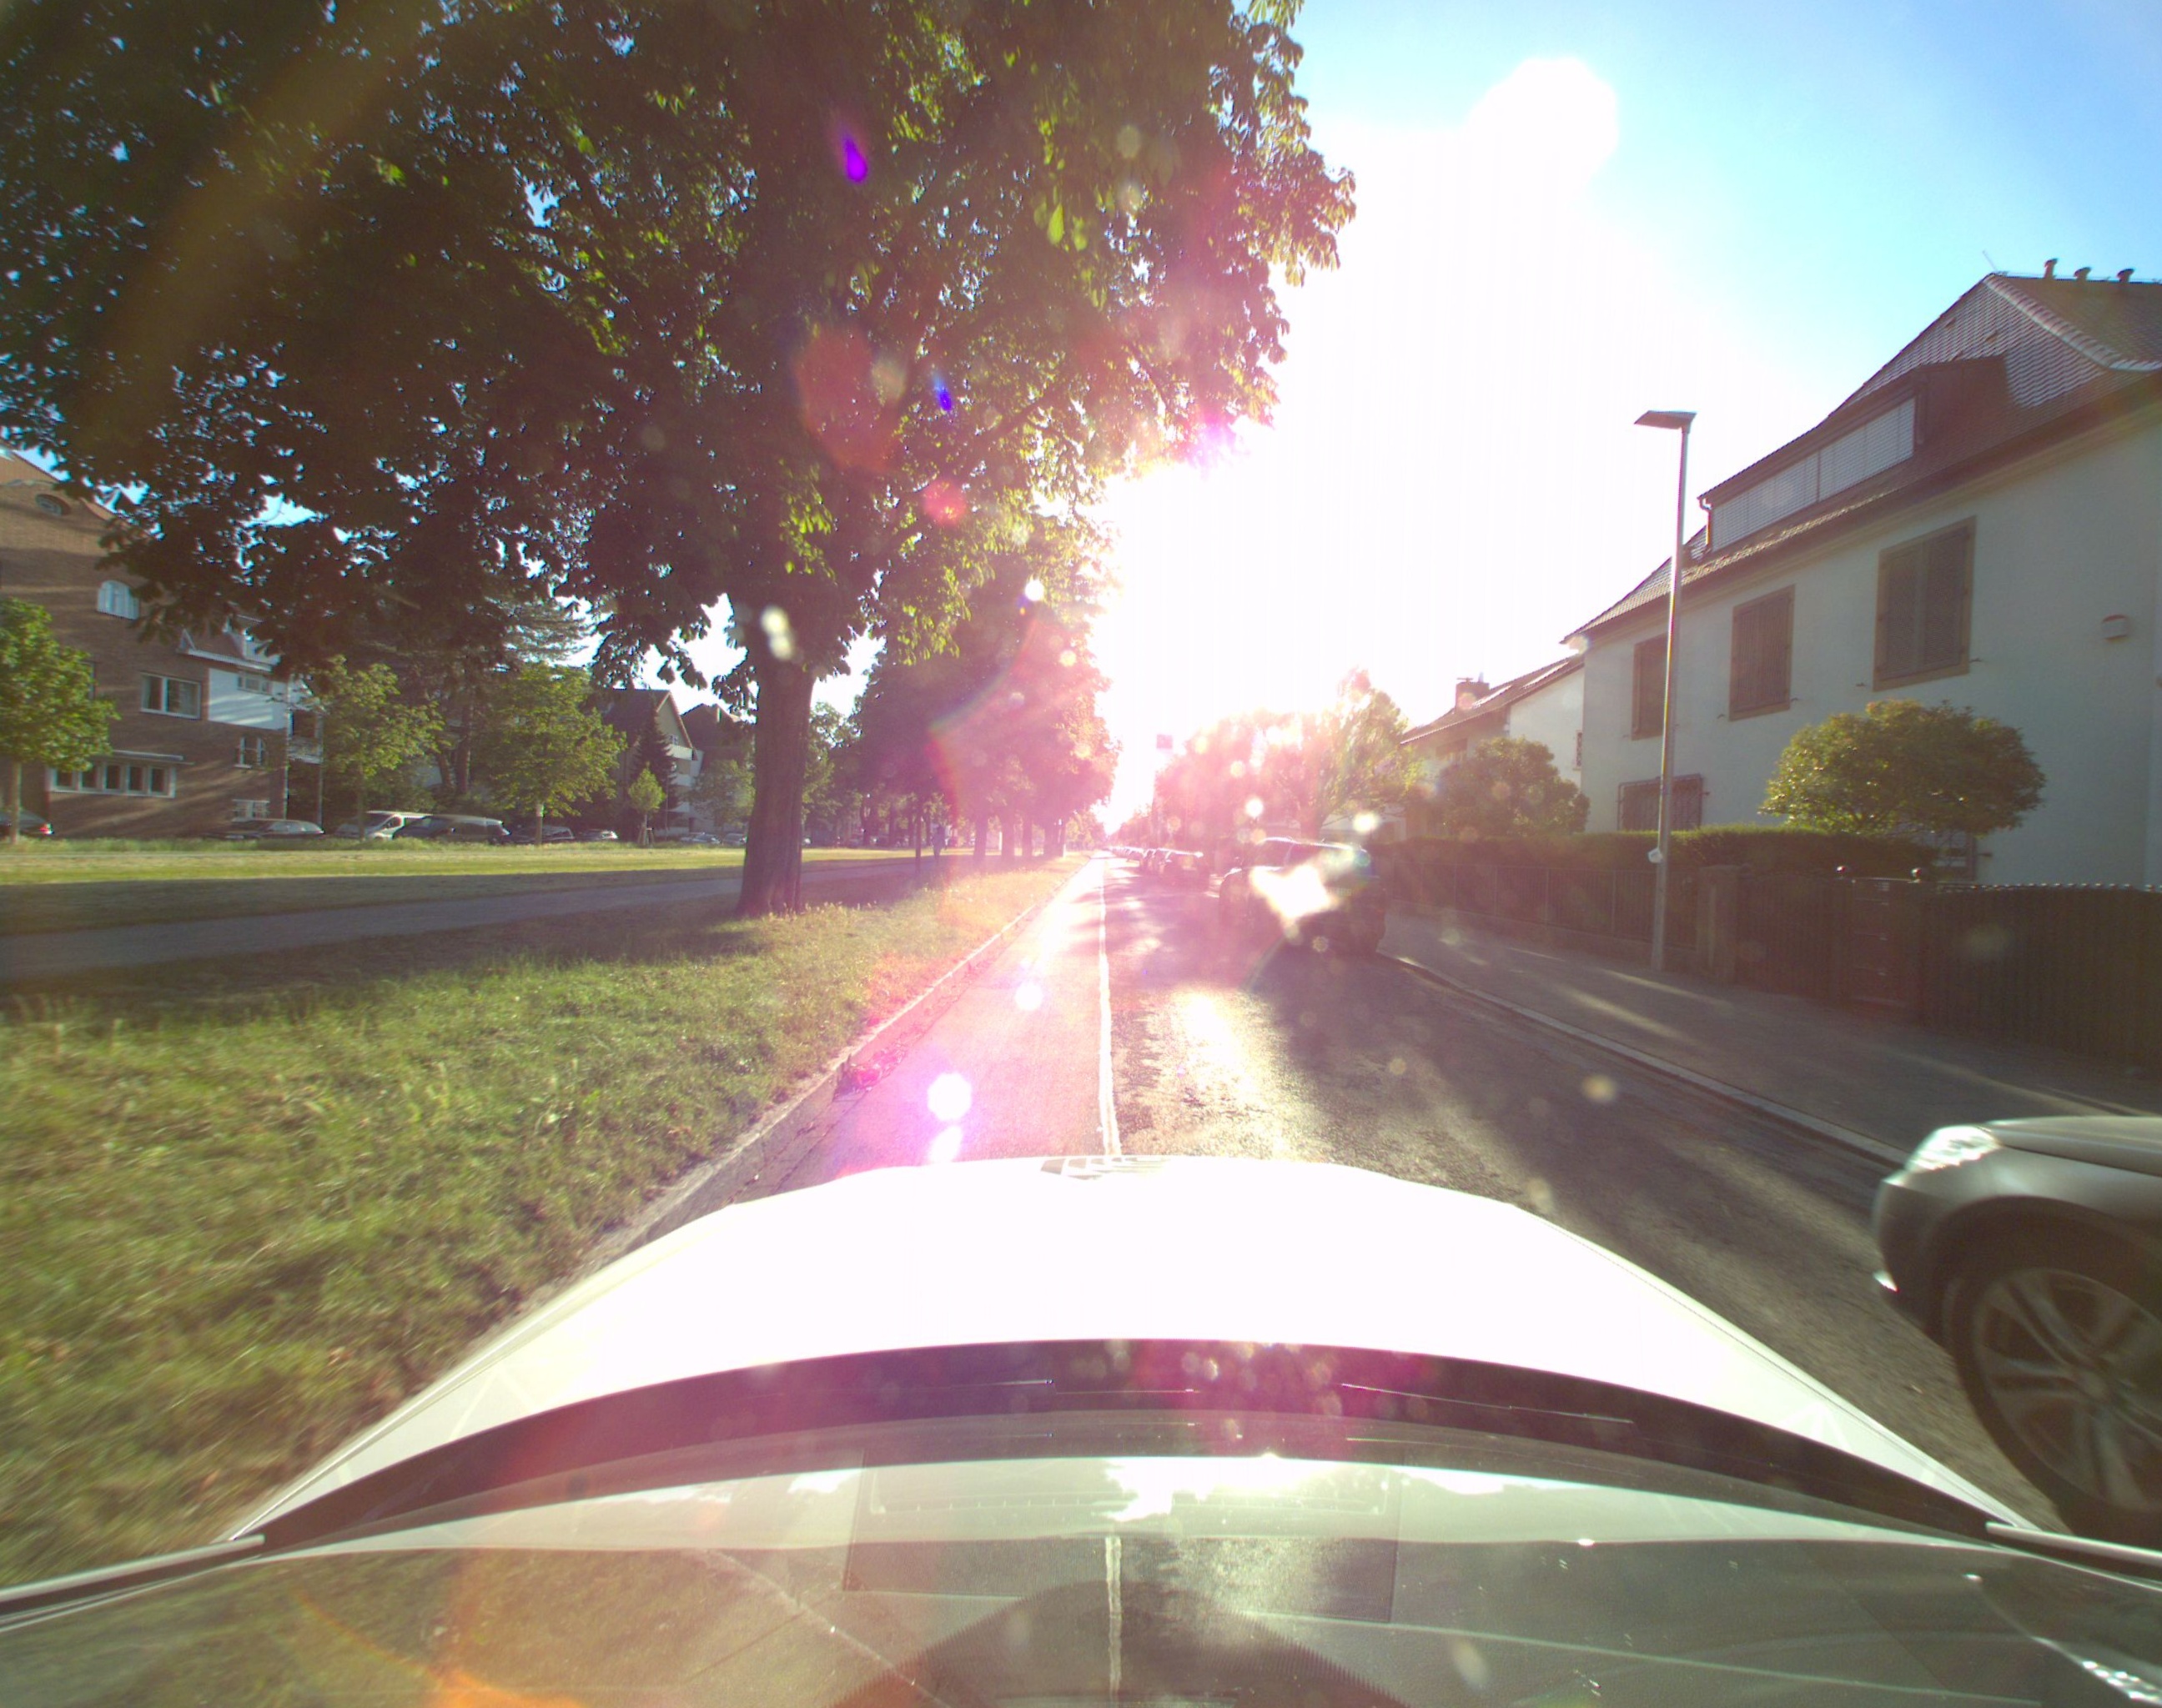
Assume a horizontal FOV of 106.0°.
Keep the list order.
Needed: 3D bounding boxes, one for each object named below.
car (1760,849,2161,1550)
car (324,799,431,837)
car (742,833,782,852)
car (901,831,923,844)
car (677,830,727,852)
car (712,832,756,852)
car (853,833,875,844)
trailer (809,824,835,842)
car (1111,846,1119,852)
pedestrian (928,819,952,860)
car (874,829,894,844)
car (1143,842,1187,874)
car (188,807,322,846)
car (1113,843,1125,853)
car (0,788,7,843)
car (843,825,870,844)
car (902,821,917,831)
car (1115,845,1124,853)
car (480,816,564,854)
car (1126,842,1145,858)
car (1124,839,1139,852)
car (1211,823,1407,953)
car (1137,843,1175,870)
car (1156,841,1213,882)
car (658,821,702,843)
[{"bbox_3d":[3.175,0.817,0.431,1.774,1.463,4.595,5,1,1],"label":"car"},{"bbox_3d":[-37.953,-1.895,44.092,1.810,1.837,4.411,2,1,2],"label":"car"},{"bbox_3d":[-31.158,-1.137,79.727,1.985,1.721,4.258,3,0,3],"label":"car"},{"bbox_3d":[-29.553,-2.839,142.747,2.525,2.236,5.462,2,1,2],"label":"car"},{"bbox_3d":[-31.872,-1.084,68.629,1.985,1.683,4.004,3,0,4],"label":"car"},{"bbox_3d":[-31.451,-1.088,74.029,1.985,1.683,4.004,3,0,4],"label":"car"},{"bbox_3d":[-30.284,-2.148,113.633,1.678,1.559,4.317,2,0,2],"label":"car"},{"bbox_3d":[-36.127,-2.895,113.757,1.986,2.428,4.726,2,0,2],"label":"trailer"},{"bbox_3d":[8.736,-1.290,211.806,1.972,1.682,4.003,2,0,3],"label":"car"},{"bbox_3d":[-6.293,-0.649,36.412,0.720,1.757,0.995,2,1,8],"label":"pedestrian"},{"bbox_3d":[-30.025,-2.639,124.328,1.678,2.175,4.317,3,1,2],"label":"car"},{"bbox_3d":[4.529,0.175,44.377,1.687,1.482,3.926,6,1,-2],"label":"car"},{"bbox_3d":[-38.621,-1.245,38.235,1.750,1.623,4.308,2,1,2],"label":"car"},{"bbox_3d":[6.126,-0.968,130.510,1.753,1.605,4.359,2,1,0],"label":"car"},{"bbox_3d":[-32.961,-1.142,21.920,1.812,1.639,4.652,2,1,1],"label":"car"},{"bbox_3d":[-35.852,-3.080,130.162,2.429,2.922,5.820,0,0,2],"label":"car"},{"bbox_3d":[-35.347,-5.675,167.827,1.986,2.013,4.486,0,2,1],"label":"car"},{"bbox_3d":[8.402,-1.105,177.268,1.985,1.629,4.003,2,0,3],"label":"car"},{"bbox_3d":[-32.594,-1.063,47.632,1.986,2.013,4.002,4,1,2],"label":"car"},{"bbox_3d":[5.741,-0.442,86.626,1.750,1.419,4.074,8,1,2],"label":"car"},{"bbox_3d":[6.787,-1.175,110.152,1.753,1.605,4.359,2,1,0],"label":"car"},{"bbox_3d":[3.739,0.473,14.375,1.987,1.737,4.864,5,1,0],"label":"car"},{"bbox_3d":[4.499,0.119,49.391,1.744,1.476,4.286,4,1,-1],"label":"car"},{"bbox_3d":[4.233,0.292,33.929,1.787,1.492,4.675,3,0,1],"label":"car"},{"bbox_3d":[-37.551,-2.042,76.340,2.023,2.013,4.002,0,0,2],"label":"car"}]
